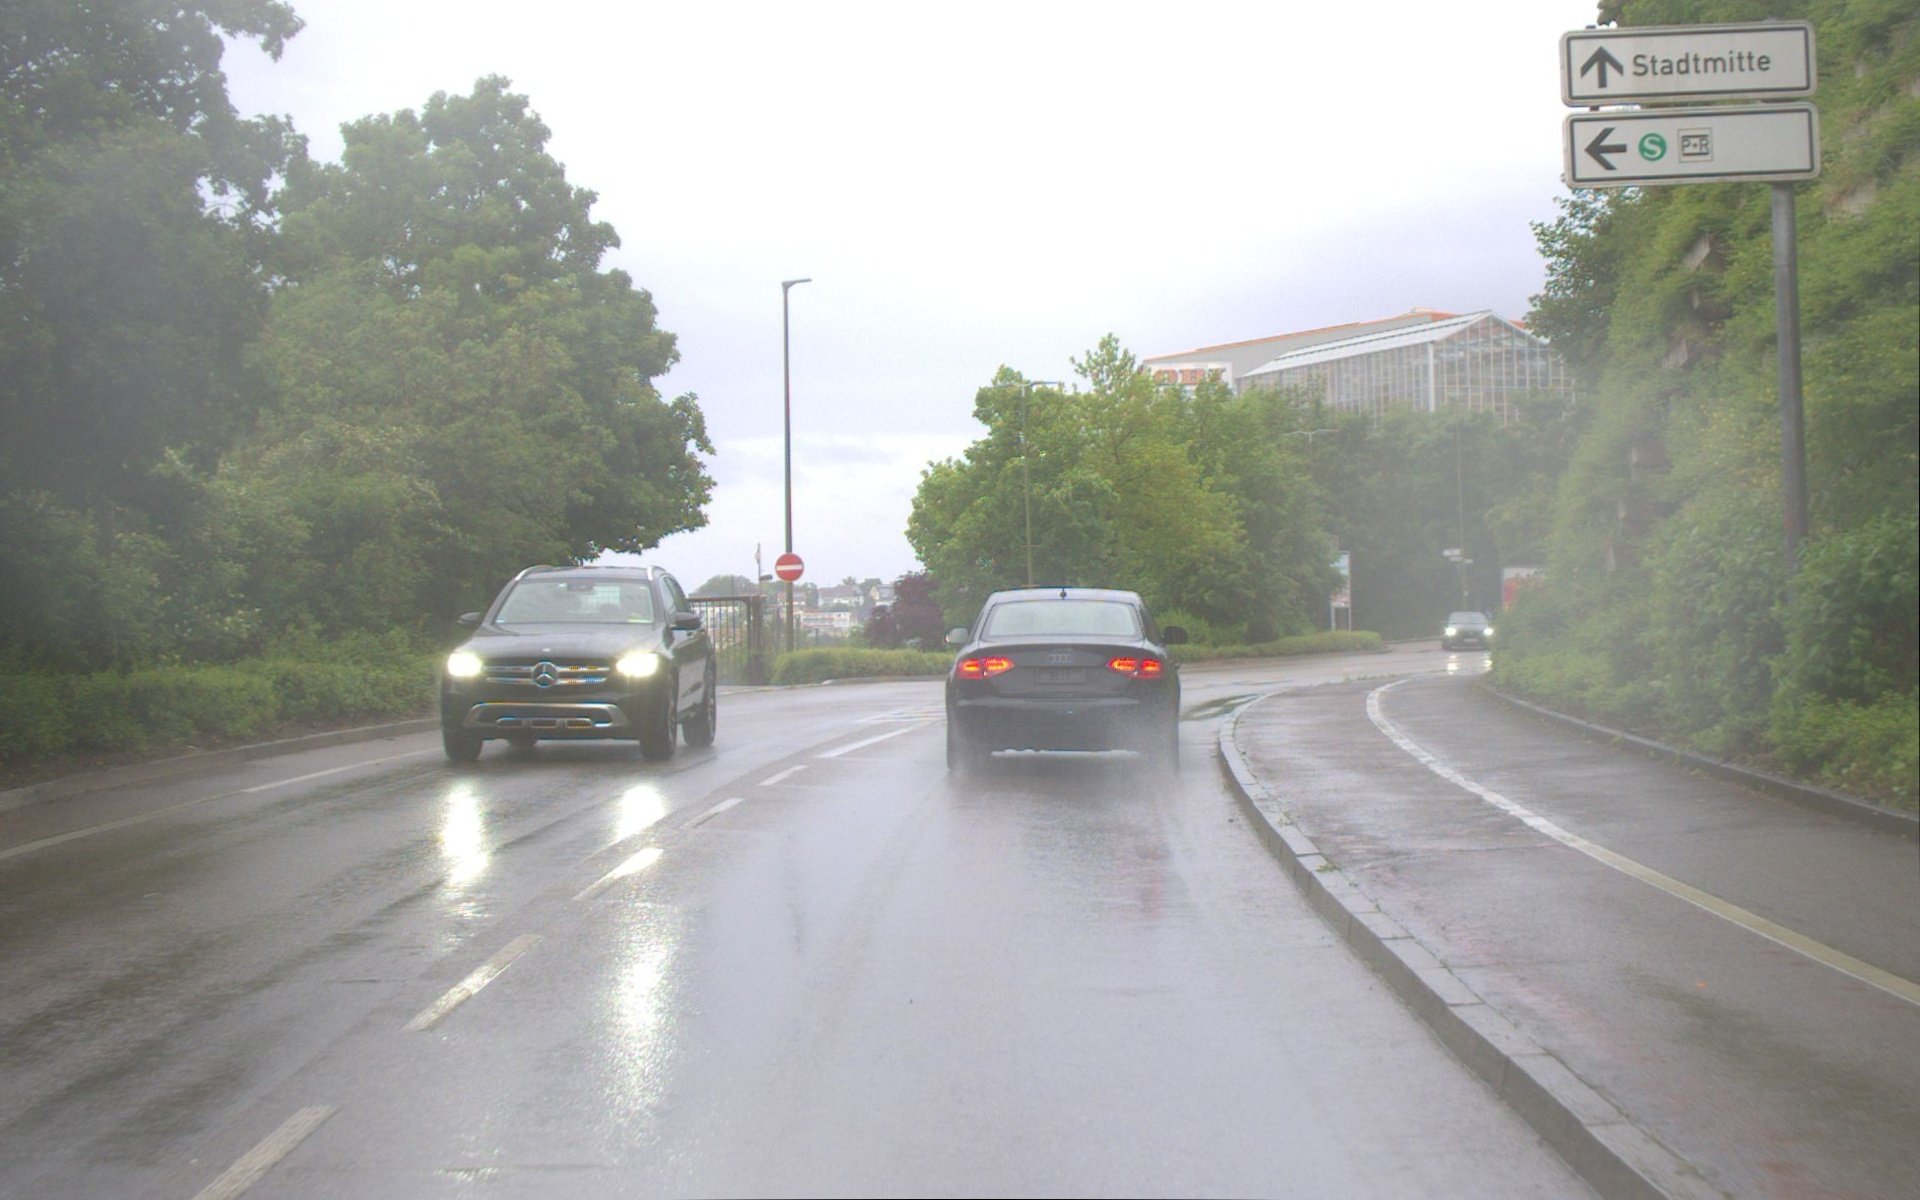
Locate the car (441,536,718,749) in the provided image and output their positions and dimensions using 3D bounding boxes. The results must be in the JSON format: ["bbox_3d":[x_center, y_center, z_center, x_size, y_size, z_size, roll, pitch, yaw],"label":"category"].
[{"bbox_3d":[-3.195,0.315,29.645,1.830,1.700,4.333,0,1,1],"label":"car"}]

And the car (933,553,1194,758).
[{"bbox_3d":[0.836,0.376,27.086,1.893,1.487,4.207,0,1,2],"label":"car"}]

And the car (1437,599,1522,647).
[{"bbox_3d":[19.846,0.859,131.301,1.996,1.735,3.994,-1,0,28],"label":"car"}]
